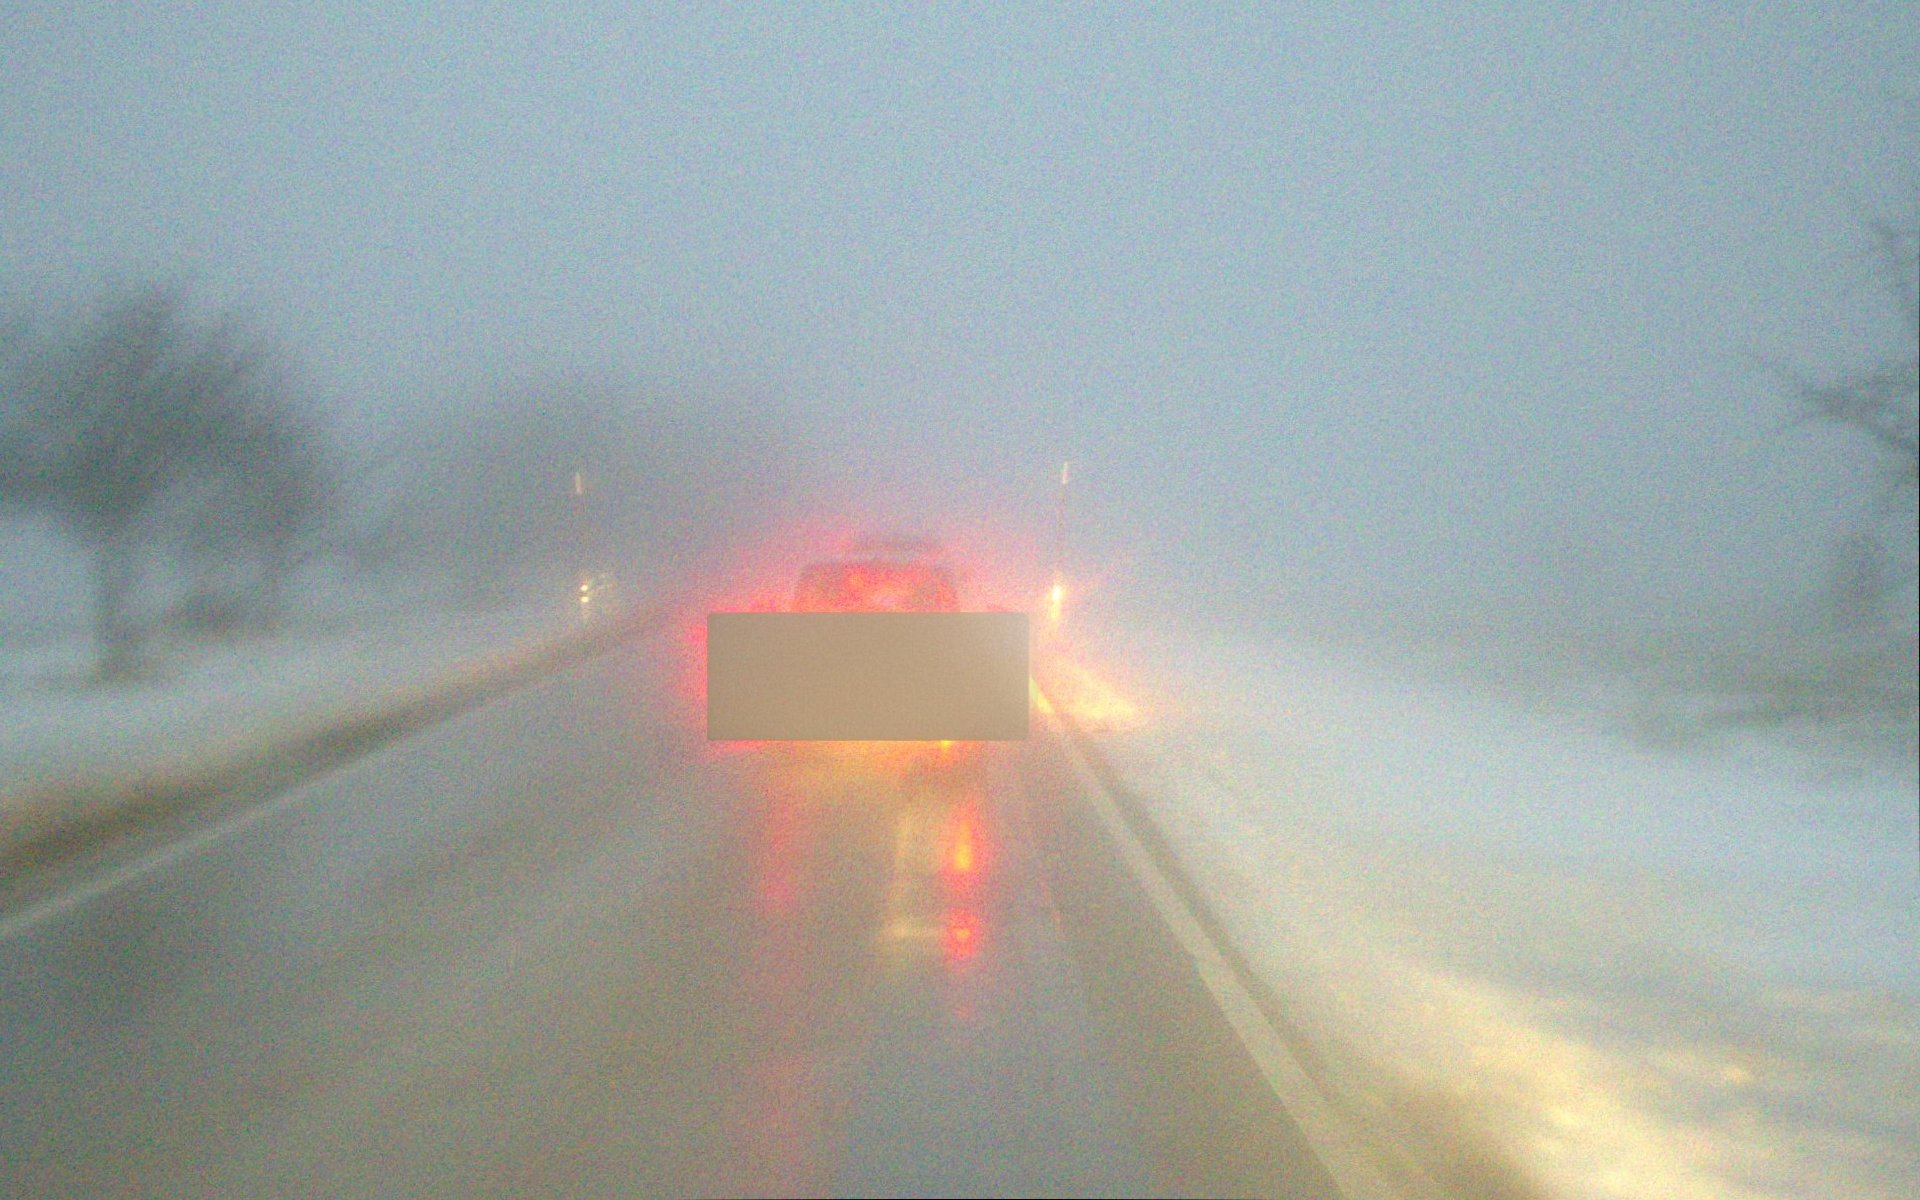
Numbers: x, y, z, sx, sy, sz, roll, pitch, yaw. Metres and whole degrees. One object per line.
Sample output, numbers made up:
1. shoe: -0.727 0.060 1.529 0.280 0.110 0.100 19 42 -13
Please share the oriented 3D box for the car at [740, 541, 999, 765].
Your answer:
1. car: -0.627 0.339 25.232 1.707 1.458 4.000 2 0 0
